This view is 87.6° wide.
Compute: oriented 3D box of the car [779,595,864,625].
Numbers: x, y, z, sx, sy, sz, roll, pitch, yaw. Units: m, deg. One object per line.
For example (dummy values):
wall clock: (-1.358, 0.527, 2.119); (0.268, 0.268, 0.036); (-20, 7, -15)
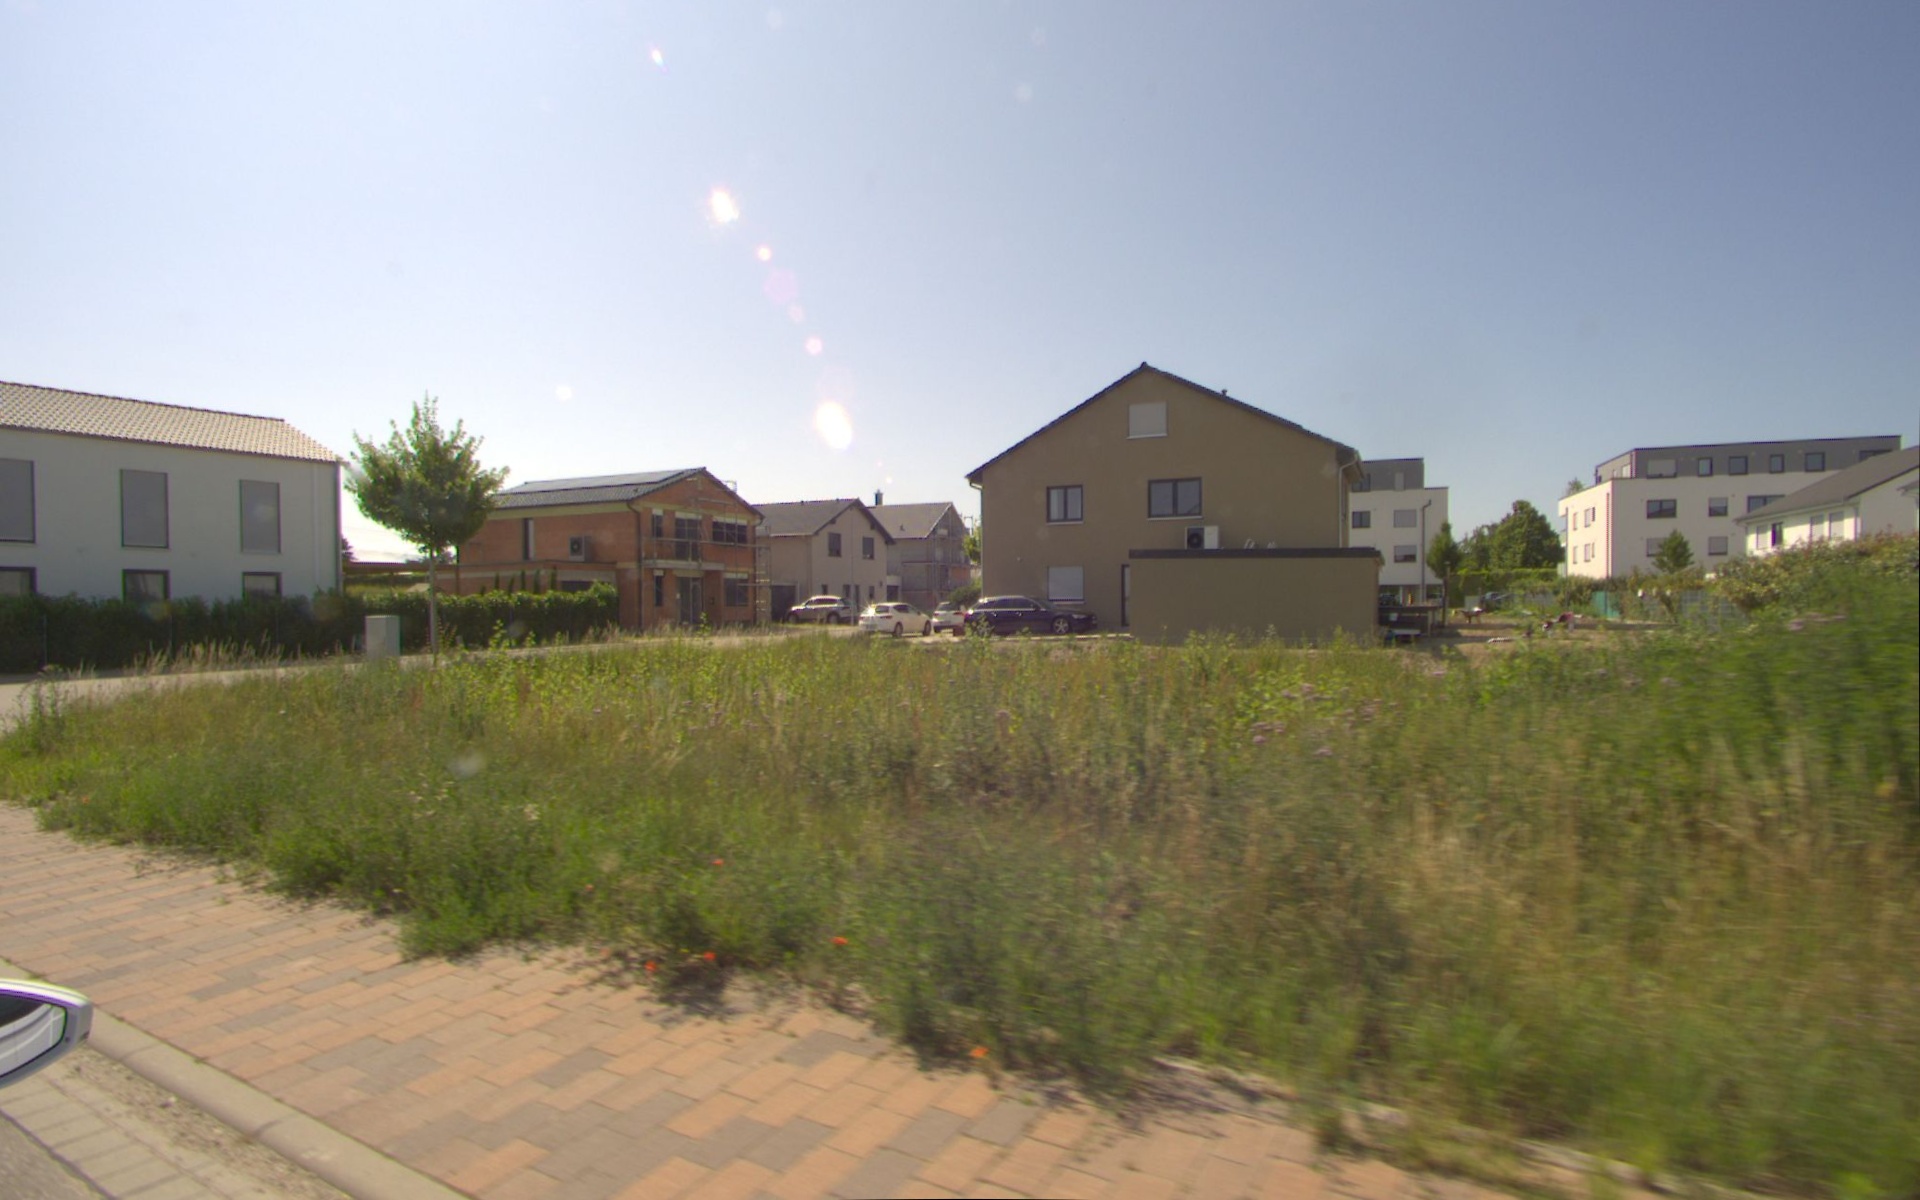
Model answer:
car: (-7.921, 0.553, 57.269); (4.363, 1.633, 1.995); (-1, 0, 21)

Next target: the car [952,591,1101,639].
car: (2.335, 0.546, 35.253); (4.828, 1.444, 1.992); (-3, -1, 27)

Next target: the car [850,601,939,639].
car: (-2.730, 0.808, 42.572); (1.791, 1.475, 4.549); (-2, 0, 25)

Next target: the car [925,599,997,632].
car: (0.109, 0.727, 48.284); (1.756, 1.445, 4.500); (-2, 0, 23)
